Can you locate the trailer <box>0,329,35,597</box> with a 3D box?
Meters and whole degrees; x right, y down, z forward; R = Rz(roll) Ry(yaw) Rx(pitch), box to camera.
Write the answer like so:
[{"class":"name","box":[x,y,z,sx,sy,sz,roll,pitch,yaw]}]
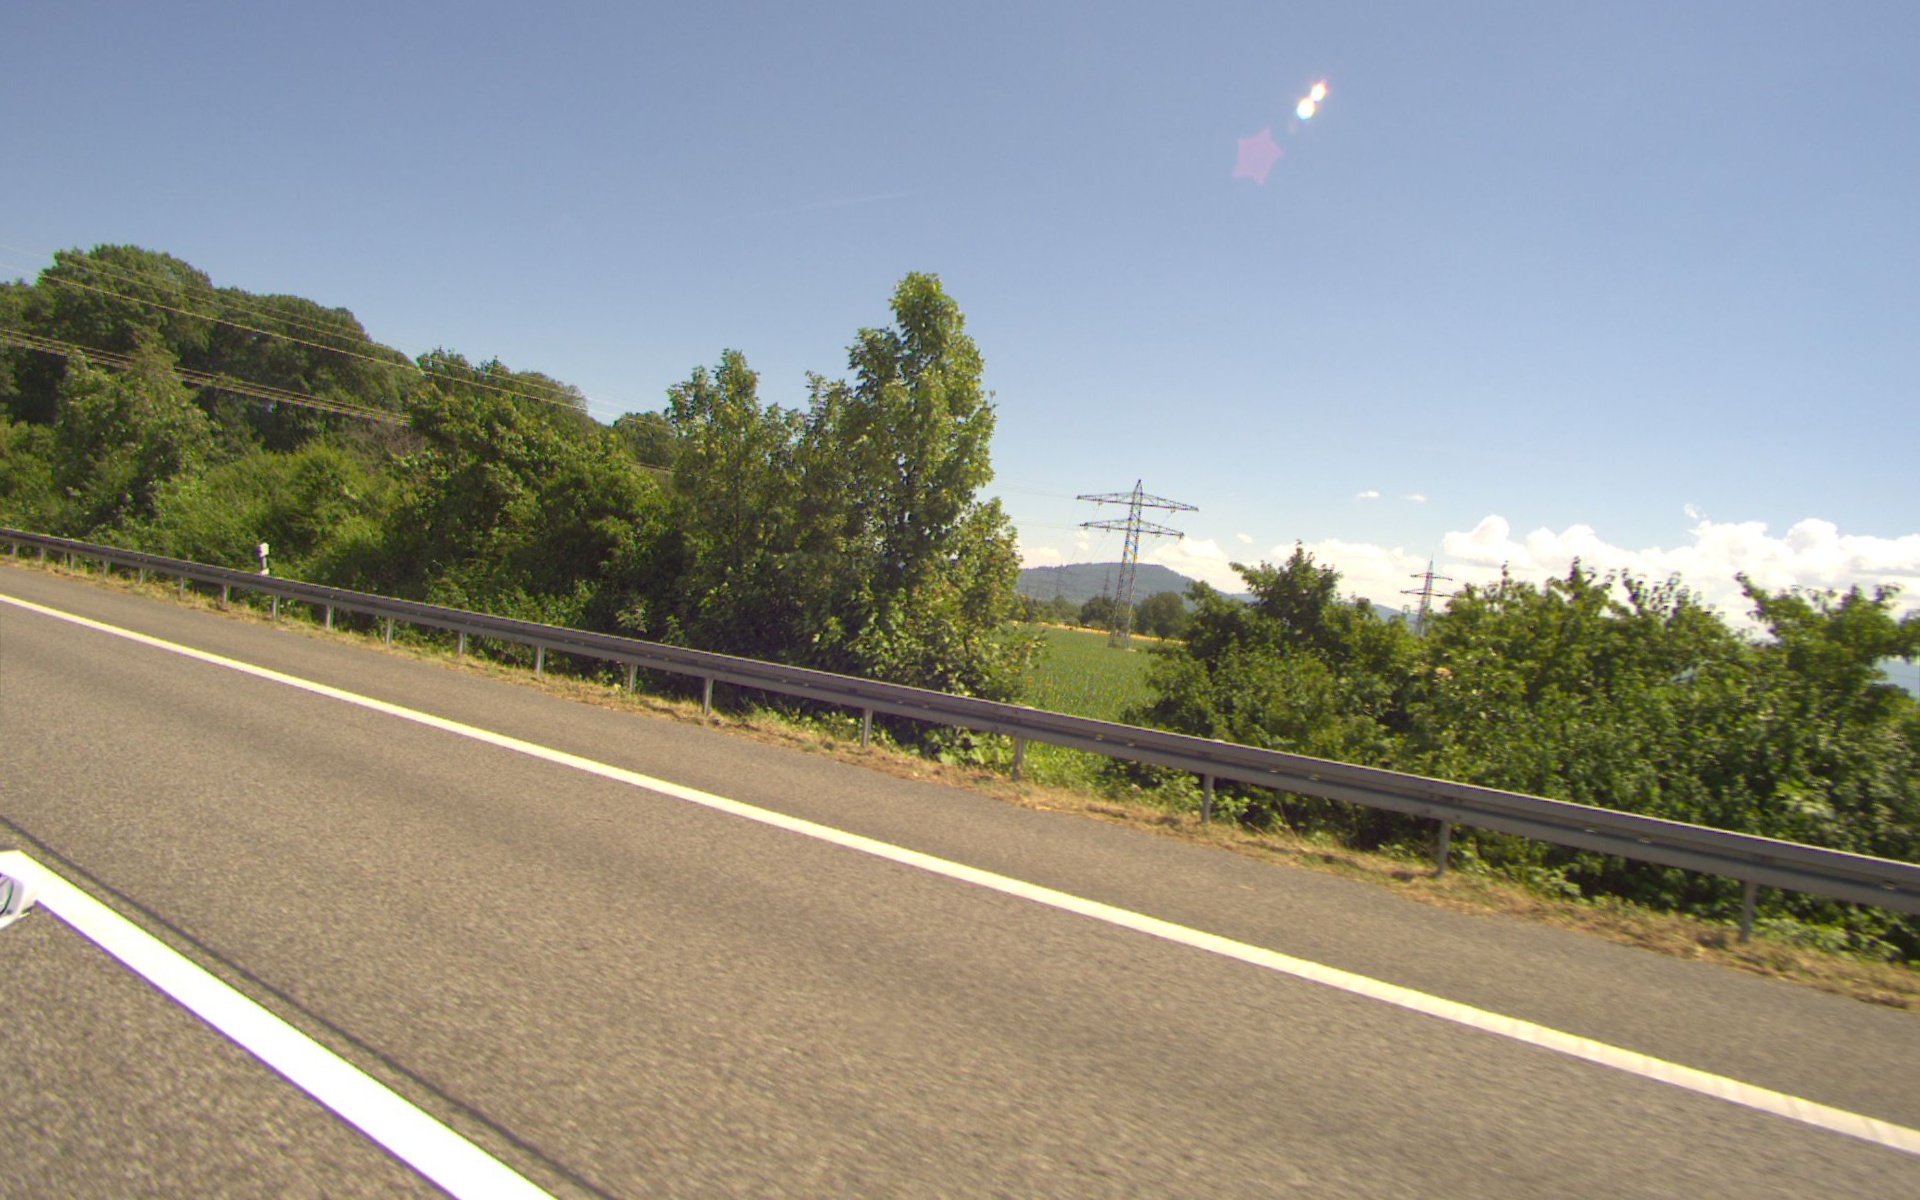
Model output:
[{"class":"trailer","box":[-18.935,-2.616,16.657,7.993,4.111,2.950,7,-1,32]}]
